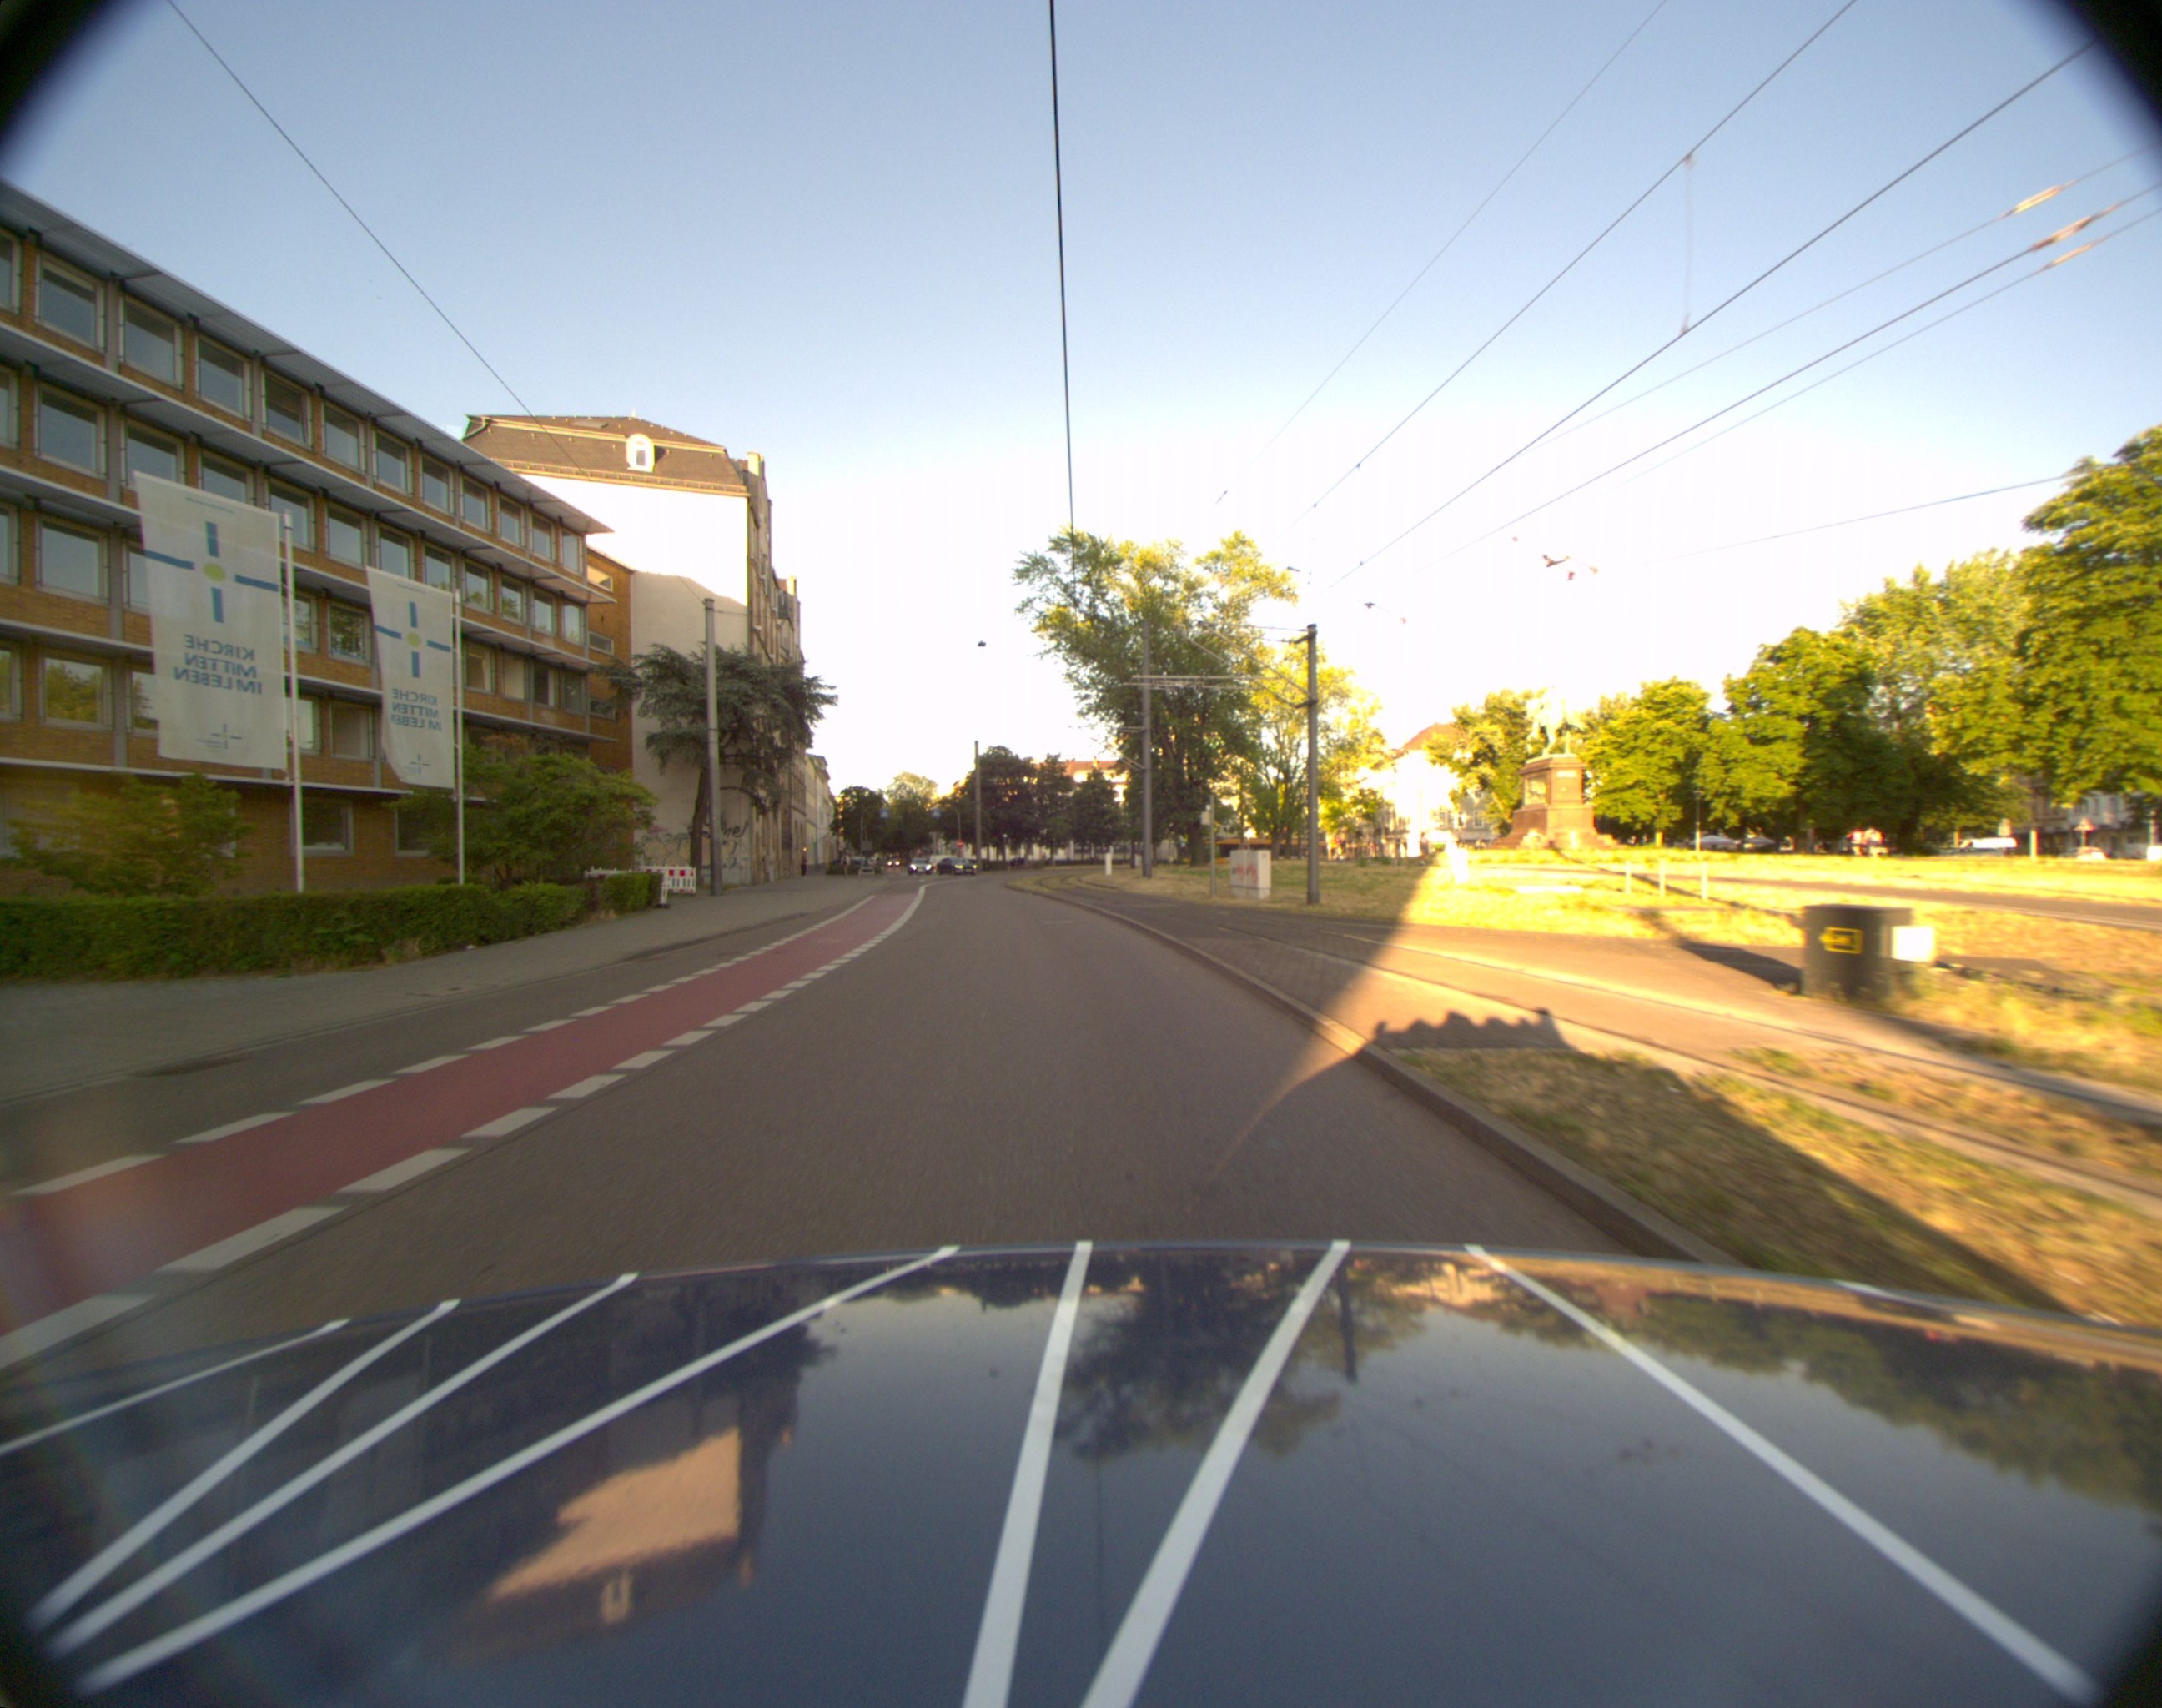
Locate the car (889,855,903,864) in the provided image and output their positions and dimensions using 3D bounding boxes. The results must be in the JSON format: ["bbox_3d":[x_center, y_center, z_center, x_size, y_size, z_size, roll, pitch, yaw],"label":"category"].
[{"bbox_3d":[-32.105,0.981,131.939,1.821,1.473,4.133,-1,-1,-8],"label":"car"}]

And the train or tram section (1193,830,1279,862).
[{"bbox_3d":[18.333,-0.977,88.982,13.394,3.563,2.942,-2,1,-45],"label":"train or tram section"}]

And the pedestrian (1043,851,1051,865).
[{"bbox_3d":[-3.968,0.463,88.832,0.768,1.705,0.786,0,0,13],"label":"pedestrian"}]

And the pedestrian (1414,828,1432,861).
[{"bbox_3d":[17.547,-0.479,38.982,0.476,1.680,0.835,0,0,-8],"label":"pedestrian"}]

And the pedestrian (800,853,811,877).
[{"bbox_3d":[-19.523,0.768,53.839,0.577,1.699,0.721,0,0,-11],"label":"pedestrian"}]

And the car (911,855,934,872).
[{"bbox_3d":[-14.424,0.887,69.376,1.821,1.473,4.133,0,-1,-9],"label":"car"}]

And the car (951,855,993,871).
[{"bbox_3d":[-11.201,0.954,78.532,4.065,1.547,1.866,0,-1,0],"label":"car"}]

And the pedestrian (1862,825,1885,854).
[{"bbox_3d":[43.148,-0.782,41.372,0.619,1.571,0.554,0,0,8],"label":"pedestrian"}]

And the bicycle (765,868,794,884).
[{"bbox_3d":[-20.832,1.533,52.538,1.857,1.066,0.429,0,0,-16],"label":"bicycle"}]

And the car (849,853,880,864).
[{"bbox_3d":[-32.397,0.615,113.532,4.402,1.603,1.727,0,-1,-16],"label":"car"}]

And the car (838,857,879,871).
[{"bbox_3d":[-24.023,1.076,82.125,4.070,1.560,1.836,0,-1,-13],"label":"car"}]

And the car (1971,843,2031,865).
[{"bbox_3d":[71.145,0.033,58.832,1.792,1.570,4.009,-1,-1,33],"label":"car"}]

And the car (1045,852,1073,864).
[{"bbox_3d":[-3.321,0.632,113.179,4.009,1.714,1.702,0,-1,5],"label":"car"}]

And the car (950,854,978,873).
[{"bbox_3d":[-9.294,0.737,60.002,1.822,1.473,4.131,0,-1,-14],"label":"car"}]

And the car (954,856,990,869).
[{"bbox_3d":[-13.165,1.022,91.687,4.065,1.542,2.000,0,-1,0],"label":"car"}]

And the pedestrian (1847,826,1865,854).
[{"bbox_3d":[42.633,-0.757,41.787,0.453,1.503,0.554,0,0,8],"label":"pedestrian"}]

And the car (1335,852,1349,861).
[{"bbox_3d":[49.723,0.502,144.563,1.722,1.542,3.970,0,-1,7],"label":"car"}]

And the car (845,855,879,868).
[{"bbox_3d":[-27.513,0.953,95.470,4.071,1.542,1.997,0,-1,-16],"label":"car"}]

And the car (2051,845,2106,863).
[{"bbox_3d":[90.672,-0.006,69.139,1.792,1.570,4.009,-1,-1,33],"label":"car"}]

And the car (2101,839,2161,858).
[{"bbox_3d":[92.381,-0.481,66.882,1.792,1.570,4.009,-1,-1,33],"label":"car"}]

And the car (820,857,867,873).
[{"bbox_3d":[-23.937,1.102,76.679,4.401,1.548,1.836,0,-1,-14],"label":"car"}]

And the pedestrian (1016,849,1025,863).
[{"bbox_3d":[-8.673,0.323,109.236,0.827,2.001,1.011,-1,-1,36],"label":"pedestrian"}]

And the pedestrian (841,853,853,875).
[{"bbox_3d":[-18.794,0.791,61.080,0.591,1.781,0.822,0,0,17],"label":"pedestrian"}]

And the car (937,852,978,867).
[{"bbox_3d":[-16.491,0.715,101.560,5.075,1.891,2.123,0,-1,8],"label":"car"}]

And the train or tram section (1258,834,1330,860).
[{"bbox_3d":[27.655,-1.003,98.218,12.882,3.123,2.924,-2,1,-45],"label":"train or tram section"}]

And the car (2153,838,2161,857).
[{"bbox_3d":[89.393,-0.549,61.452,1.792,1.570,4.009,-1,-1,33],"label":"car"}]
